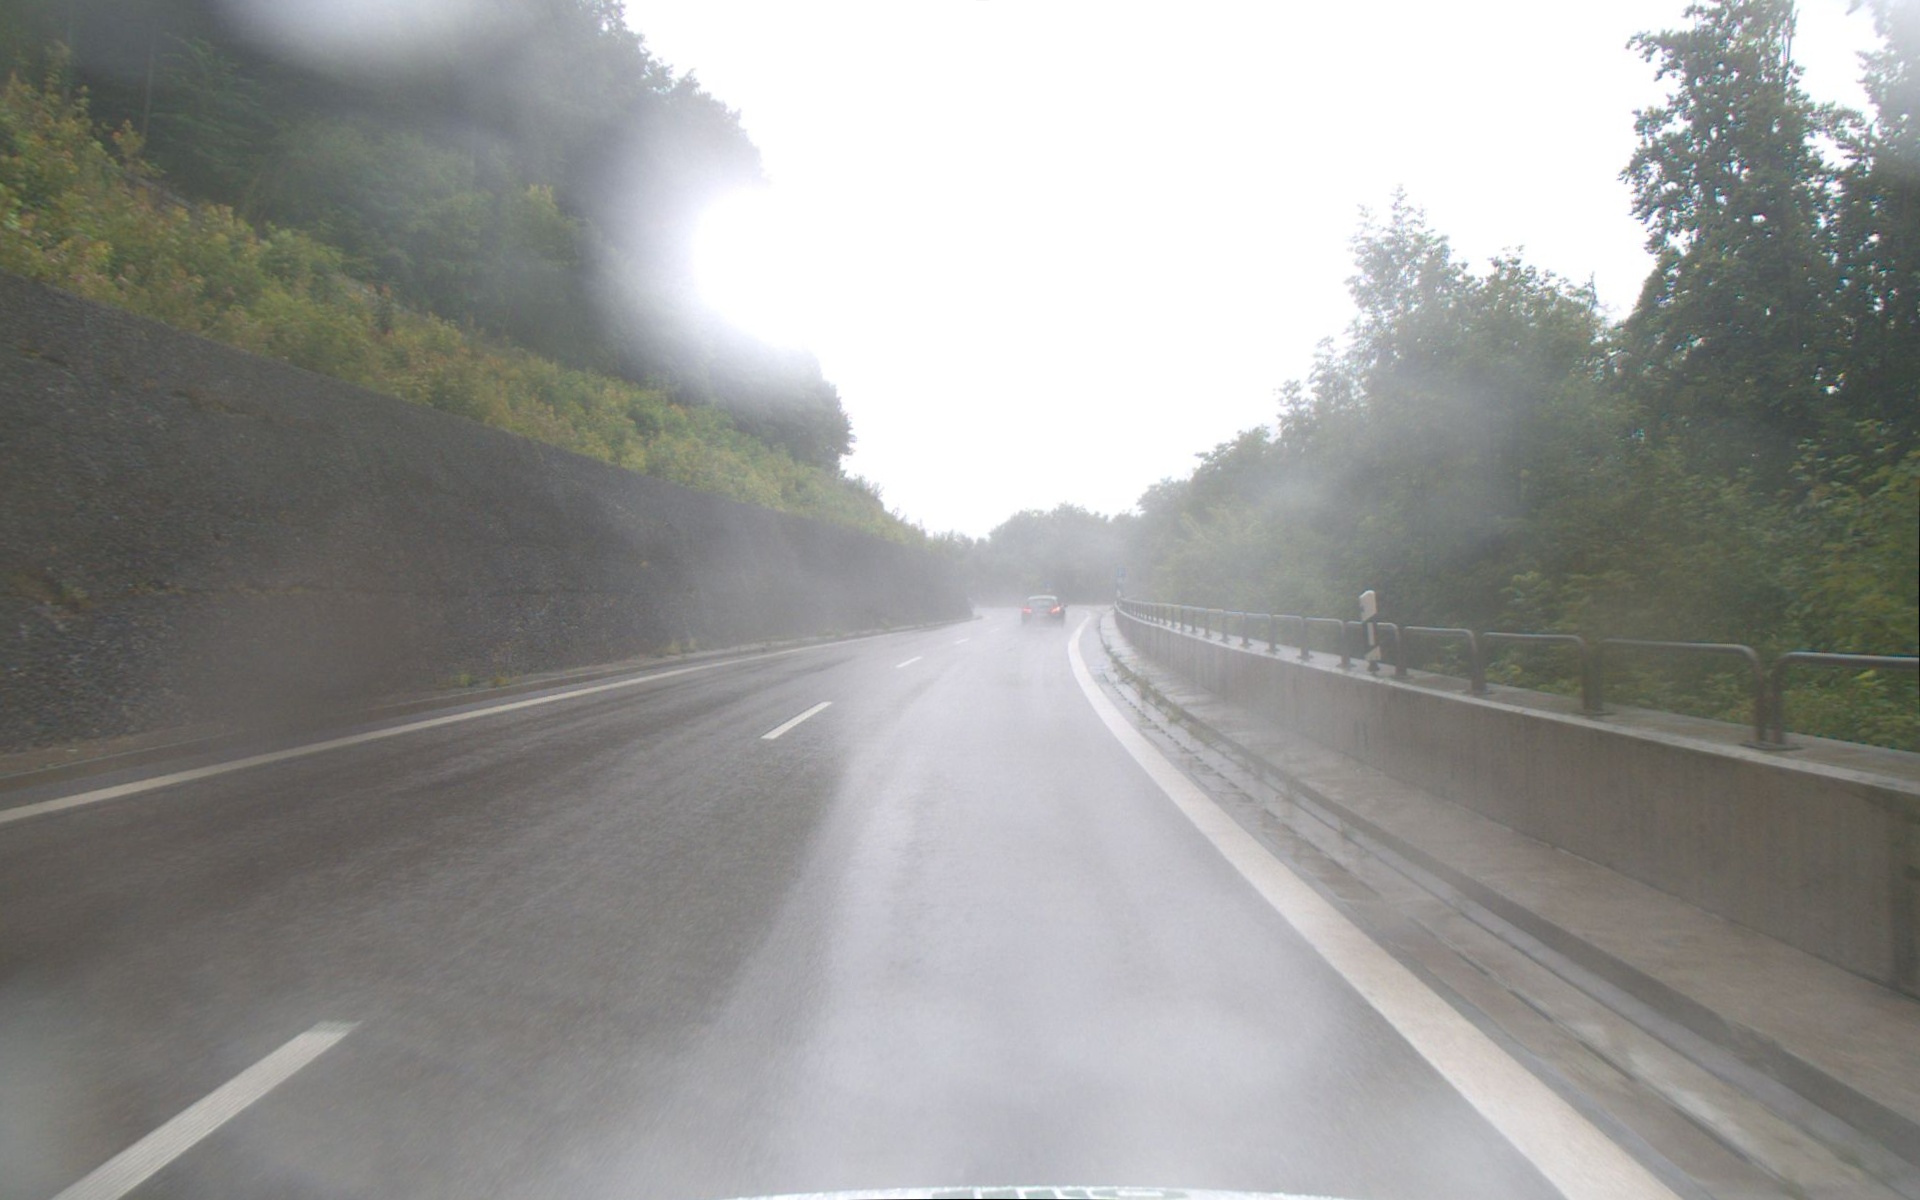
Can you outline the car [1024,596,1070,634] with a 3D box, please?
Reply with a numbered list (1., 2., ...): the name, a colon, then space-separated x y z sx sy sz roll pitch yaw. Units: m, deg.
1. car: 3.647 0.628 69.905 1.864 1.525 4.001 -1 0 2
